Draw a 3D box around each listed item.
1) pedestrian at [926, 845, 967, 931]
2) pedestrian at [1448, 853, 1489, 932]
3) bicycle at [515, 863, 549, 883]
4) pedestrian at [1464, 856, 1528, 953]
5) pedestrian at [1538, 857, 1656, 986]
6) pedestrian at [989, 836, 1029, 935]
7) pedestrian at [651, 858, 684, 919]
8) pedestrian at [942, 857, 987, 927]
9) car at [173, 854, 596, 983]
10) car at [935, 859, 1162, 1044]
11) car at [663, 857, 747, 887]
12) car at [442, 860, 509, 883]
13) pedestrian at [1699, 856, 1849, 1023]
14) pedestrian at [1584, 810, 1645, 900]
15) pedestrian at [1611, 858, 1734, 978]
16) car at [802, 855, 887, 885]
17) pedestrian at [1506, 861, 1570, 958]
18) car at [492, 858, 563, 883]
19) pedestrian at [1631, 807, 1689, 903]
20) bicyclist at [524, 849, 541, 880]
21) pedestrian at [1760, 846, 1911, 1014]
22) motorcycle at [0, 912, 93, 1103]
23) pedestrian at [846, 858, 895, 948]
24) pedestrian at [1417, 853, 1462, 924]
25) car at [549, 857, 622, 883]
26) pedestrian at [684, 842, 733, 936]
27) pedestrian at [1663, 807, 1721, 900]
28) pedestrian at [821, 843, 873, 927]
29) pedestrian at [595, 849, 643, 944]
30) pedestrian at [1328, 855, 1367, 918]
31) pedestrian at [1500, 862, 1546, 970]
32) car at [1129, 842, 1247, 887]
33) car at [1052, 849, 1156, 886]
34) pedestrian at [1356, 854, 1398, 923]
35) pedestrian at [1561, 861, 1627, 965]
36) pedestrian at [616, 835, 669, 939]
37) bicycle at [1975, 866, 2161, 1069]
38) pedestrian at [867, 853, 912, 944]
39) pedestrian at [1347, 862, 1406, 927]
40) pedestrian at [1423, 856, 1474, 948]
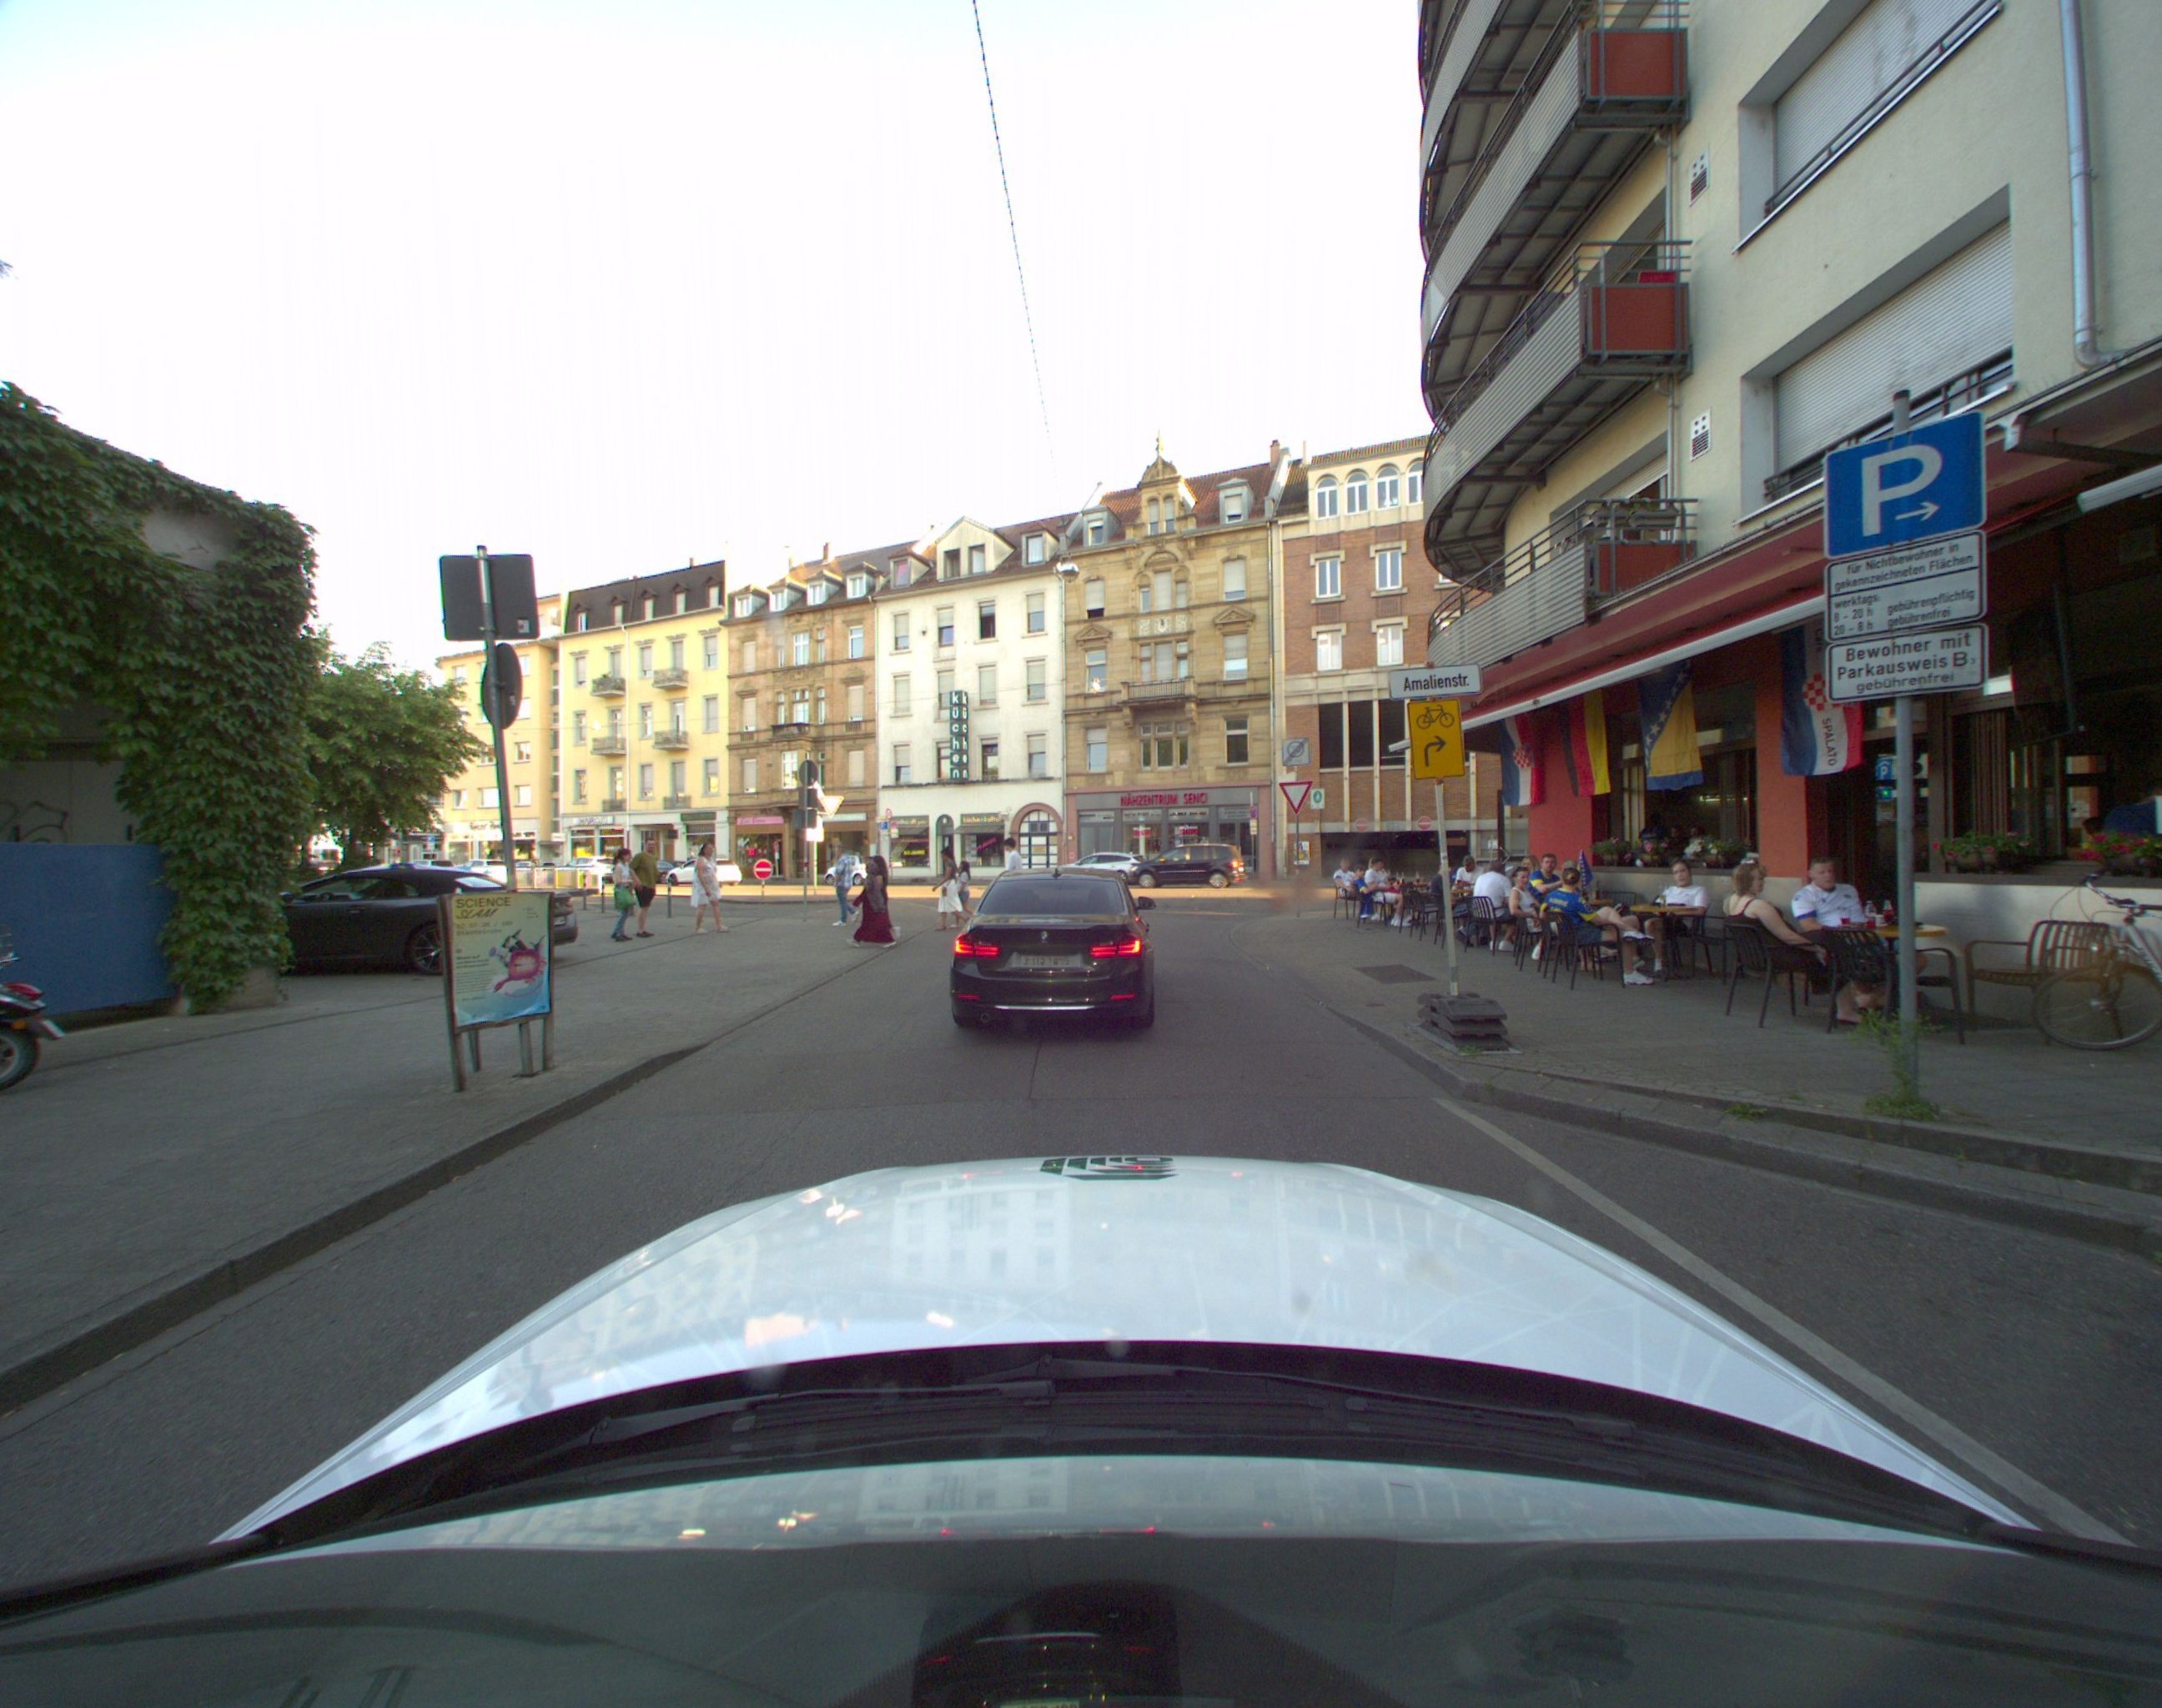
[{"bbox_3d":[-2.782,0.699,16.881,0.664,1.746,0.607,-1,0,6],"label":"pedestrian"},{"bbox_3d":[6.441,0.633,13.555,0.486,1.276,0.523,-1,0,13],"label":"pedestrian"},{"bbox_3d":[-31.664,1.102,46.992,1.782,1.107,0.540,0,0,13],"label":"bicycle"},{"bbox_3d":[5.767,0.686,11.317,0.631,1.276,0.505,-3,0,-38],"label":"pedestrian"},{"bbox_3d":[5.387,0.692,8.536,0.856,1.257,0.491,-4,0,-1],"label":"pedestrian"},{"bbox_3d":[-1.393,0.603,15.842,0.696,1.877,0.678,0,0,0],"label":"pedestrian"},{"bbox_3d":[-9.875,0.813,19.445,0.530,1.409,0.473,0,0,30],"label":"pedestrian"},{"bbox_3d":[-2.497,0.803,17.537,0.812,1.474,0.607,-1,0,4],"label":"pedestrian"},{"bbox_3d":[-9.297,0.786,11.244,3.985,1.501,1.886,-1,0,-9],"label":"car"},{"bbox_3d":[-0.235,0.774,8.730,1.759,1.375,4.790,0,0,0],"label":"car"},{"bbox_3d":[-19.345,0.924,41.858,3.949,1.473,1.895,-1,0,28],"label":"car"},{"bbox_3d":[-40.519,1.162,54.507,3.952,1.510,1.810,-1,-1,22],"label":"car"},{"bbox_3d":[5.623,0.674,6.648,0.683,1.286,0.610,-2,-1,9],"label":"pedestrian"},{"bbox_3d":[9.841,0.012,15.032,0.717,1.607,0.682,1,0,-27],"label":"pedestrian"},{"bbox_3d":[6.516,0.679,9.013,0.776,1.223,0.714,-4,0,0],"label":"pedestrian"},{"bbox_3d":[-12.401,0.840,42.692,3.952,1.510,1.810,-1,-1,22],"label":"car"},{"bbox_3d":[5.947,0.713,10.602,0.421,1.201,0.562,-3,0,-42],"label":"pedestrian"},{"bbox_3d":[-35.276,1.074,51.909,3.952,1.510,1.810,-1,-1,22],"label":"car"},{"bbox_3d":[9.887,0.017,13.916,0.533,1.607,0.605,1,0,-22],"label":"pedestrian"},{"bbox_3d":[-31.673,0.595,46.999,0.613,1.756,0.527,0,0,13],"label":"bicyclist"},{"bbox_3d":[6.453,0.619,6.998,0.605,1.348,0.696,-2,0,-1],"label":"pedestrian"},{"bbox_3d":[-7.183,0.930,4.712,1.758,1.101,0.561,1,0,-35],"label":"motorcycle"},{"bbox_3d":[-3.619,0.827,14.029,0.735,1.513,0.648,1,0,-9],"label":"pedestrian"},{"bbox_3d":[6.773,0.636,15.367,0.611,1.279,0.705,-1,0,37],"label":"pedestrian"},{"bbox_3d":[-30.172,0.986,49.598,3.952,1.510,1.810,-1,-1,22],"label":"car"},{"bbox_3d":[-7.205,0.658,15.761,0.661,1.746,0.666,-1,0,-42],"label":"pedestrian"},{"bbox_3d":[10.880,-0.005,14.500,0.692,1.607,0.707,1,0,-42],"label":"pedestrian"},{"bbox_3d":[-4.987,0.647,17.382,0.891,1.725,0.609,1,2,6],"label":"pedestrian"},{"bbox_3d":[-8.136,0.736,14.356,0.498,1.643,0.521,-1,0,2],"label":"pedestrian"},{"bbox_3d":[5.501,0.663,16.843,0.614,1.254,0.736,-1,0,5],"label":"pedestrian"},{"bbox_3d":[5.312,0.734,9.801,0.341,1.257,0.361,-4,0,12],"label":"pedestrian"},{"bbox_3d":[4.060,0.418,30.798,4.148,1.625,1.808,-1,-1,17],"label":"car"},{"bbox_3d":[1.036,0.610,36.982,4.313,1.562,1.878,-1,-1,22],"label":"car"},{"bbox_3d":[5.665,0.645,15.630,0.613,1.284,0.661,-1,0,8],"label":"pedestrian"},{"bbox_3d":[6.238,0.710,9.914,0.421,1.201,0.531,-3,0,-43],"label":"pedestrian"},{"bbox_3d":[-8.120,0.605,15.094,0.580,1.882,0.634,-1,0,5],"label":"pedestrian"},{"bbox_3d":[6.464,0.652,4.707,0.534,1.154,1.740,-2,-2,-5],"label":"bicycle"},{"bbox_3d":[-3.468,0.801,14.825,0.724,1.609,0.648,1,0,-9],"label":"pedestrian"},{"bbox_3d":[5.428,0.731,14.994,0.885,1.149,0.620,-1,0,7],"label":"pedestrian"},{"bbox_3d":[5.431,0.694,12.057,0.489,1.303,0.418,-4,0,0],"label":"pedestrian"}]
